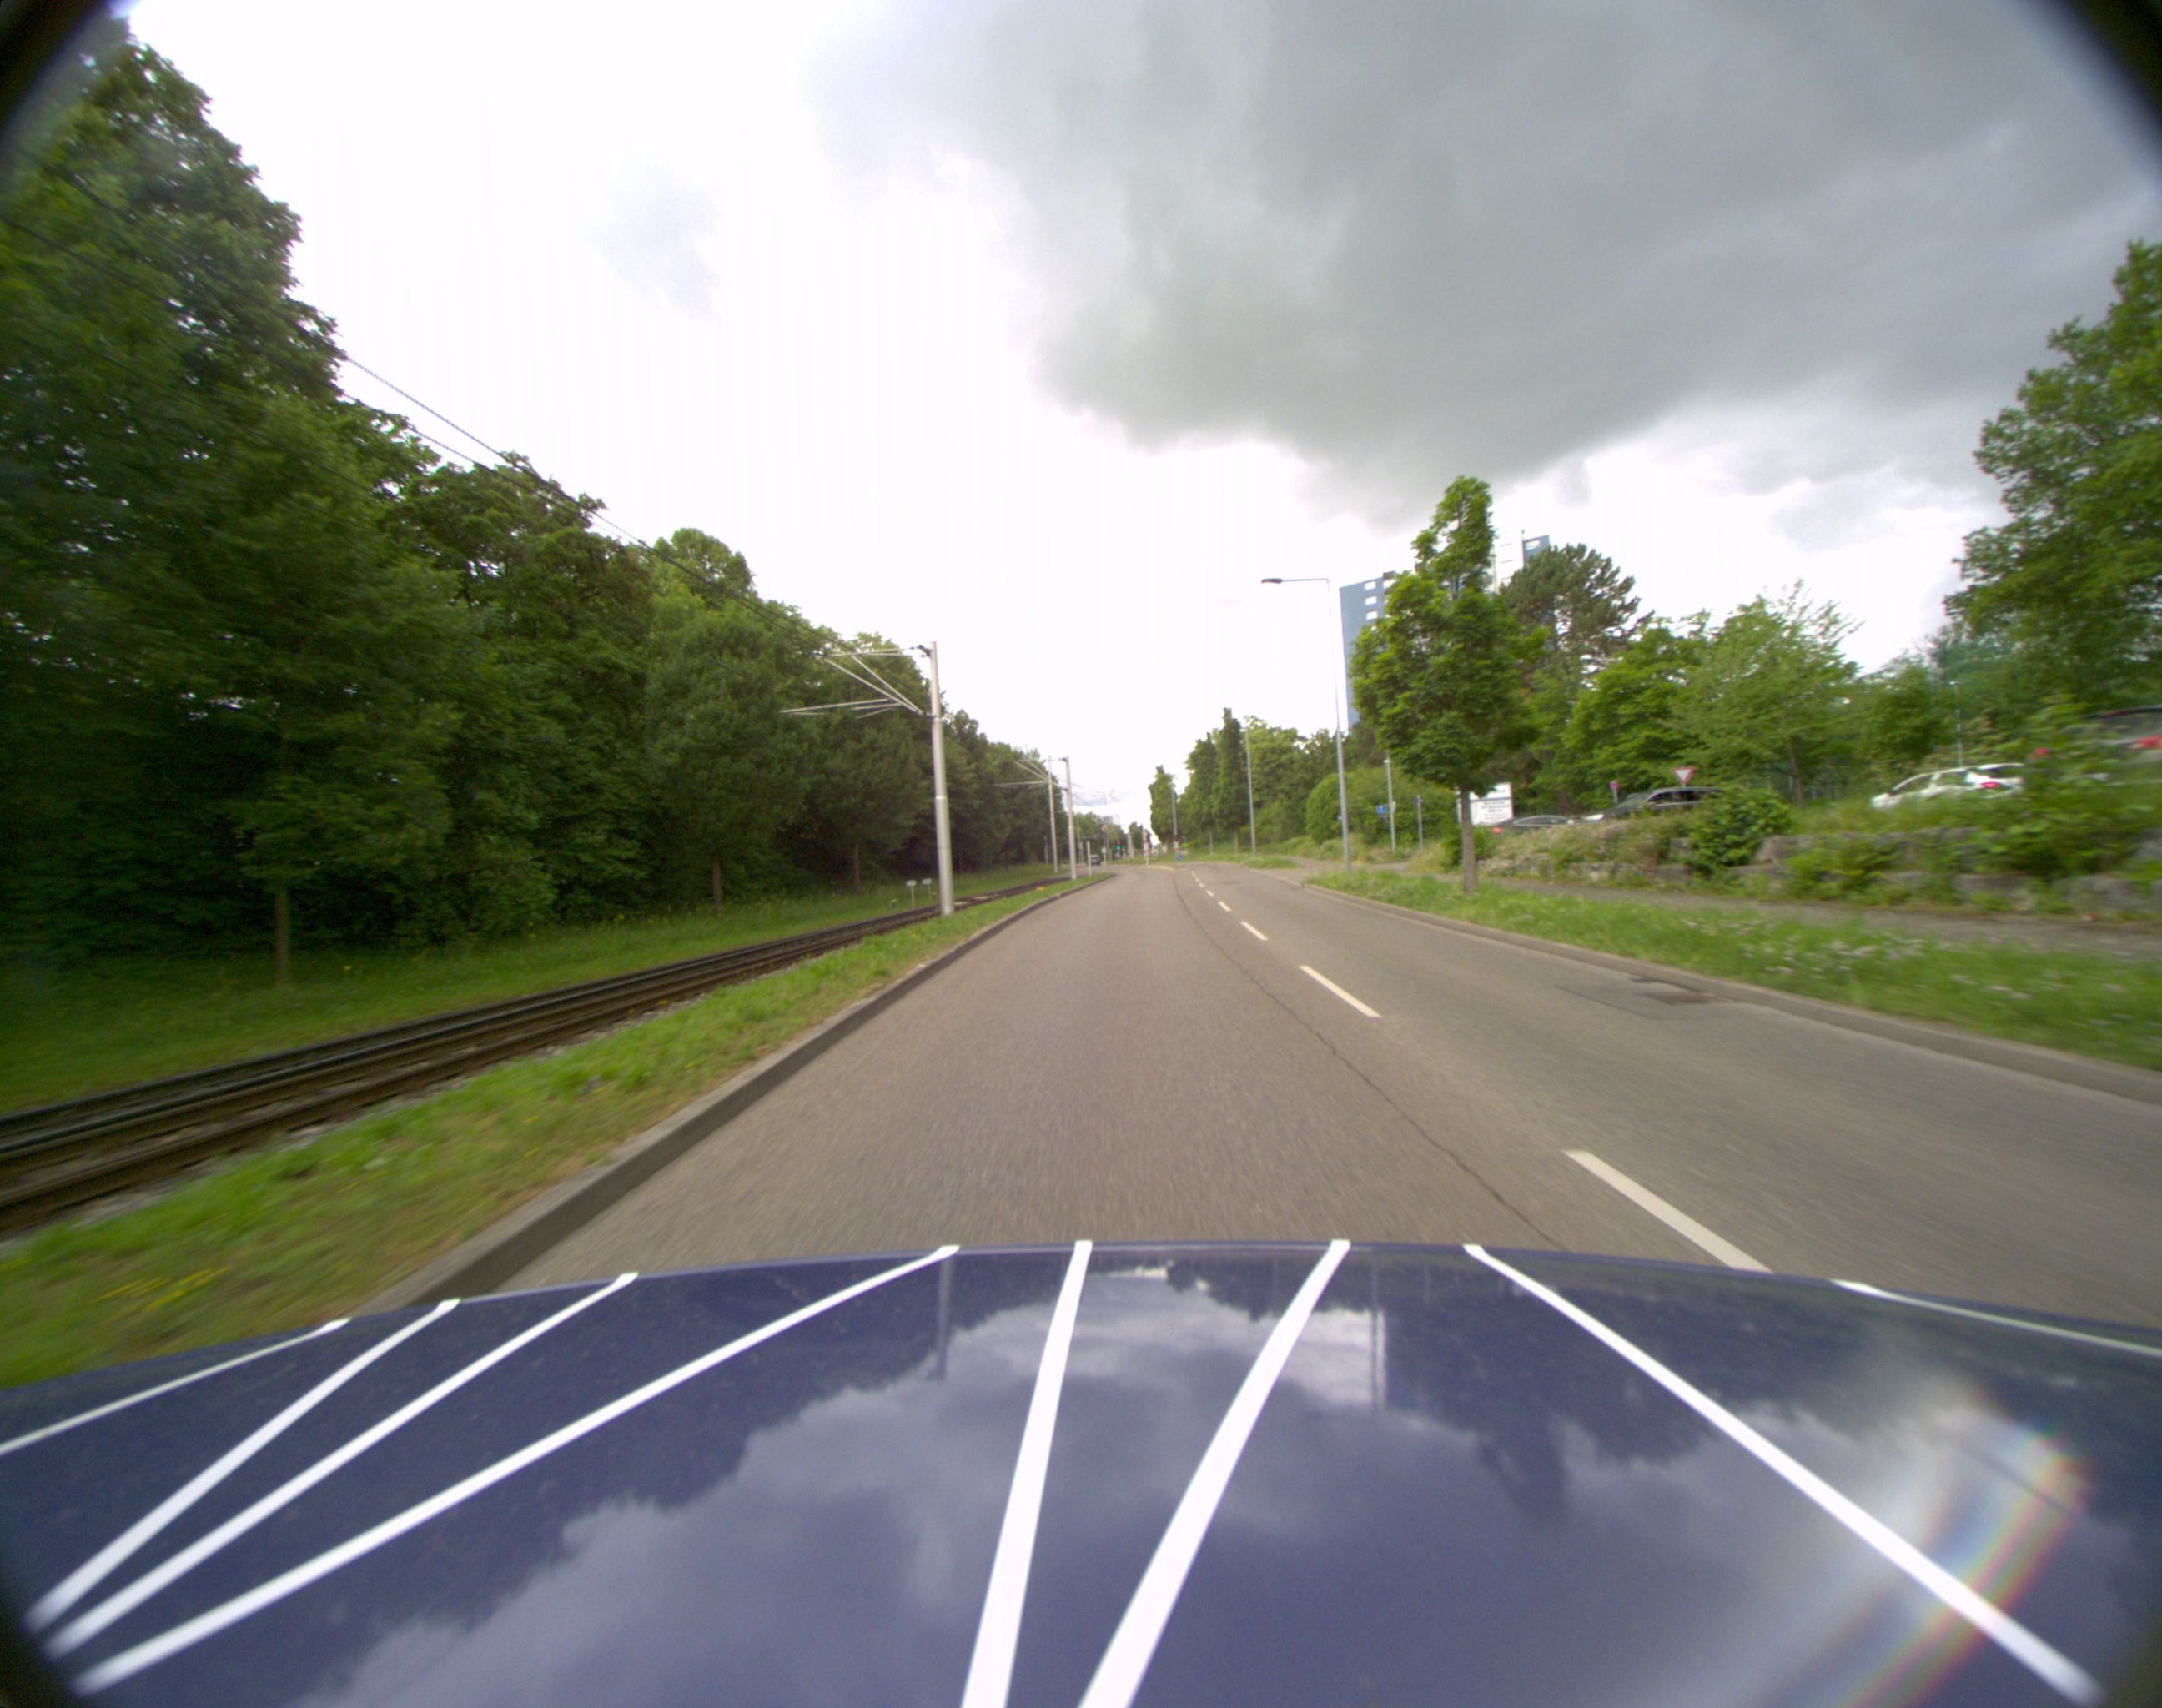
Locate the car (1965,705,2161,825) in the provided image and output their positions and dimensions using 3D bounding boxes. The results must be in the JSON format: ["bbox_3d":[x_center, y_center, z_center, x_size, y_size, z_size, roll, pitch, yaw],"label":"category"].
[{"bbox_3d":[15.110,-1.258,10.094,4.042,1.409,2.001,-4,0,8],"label":"car"}]

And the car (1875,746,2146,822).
[{"bbox_3d":[22.825,-1.635,18.970,1.997,1.409,4.049,-4,0,7],"label":"car"}]

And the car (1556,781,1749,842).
[{"bbox_3d":[16.688,-1.202,22.393,4.042,1.409,2.001,-4,0,7],"label":"car"}]
